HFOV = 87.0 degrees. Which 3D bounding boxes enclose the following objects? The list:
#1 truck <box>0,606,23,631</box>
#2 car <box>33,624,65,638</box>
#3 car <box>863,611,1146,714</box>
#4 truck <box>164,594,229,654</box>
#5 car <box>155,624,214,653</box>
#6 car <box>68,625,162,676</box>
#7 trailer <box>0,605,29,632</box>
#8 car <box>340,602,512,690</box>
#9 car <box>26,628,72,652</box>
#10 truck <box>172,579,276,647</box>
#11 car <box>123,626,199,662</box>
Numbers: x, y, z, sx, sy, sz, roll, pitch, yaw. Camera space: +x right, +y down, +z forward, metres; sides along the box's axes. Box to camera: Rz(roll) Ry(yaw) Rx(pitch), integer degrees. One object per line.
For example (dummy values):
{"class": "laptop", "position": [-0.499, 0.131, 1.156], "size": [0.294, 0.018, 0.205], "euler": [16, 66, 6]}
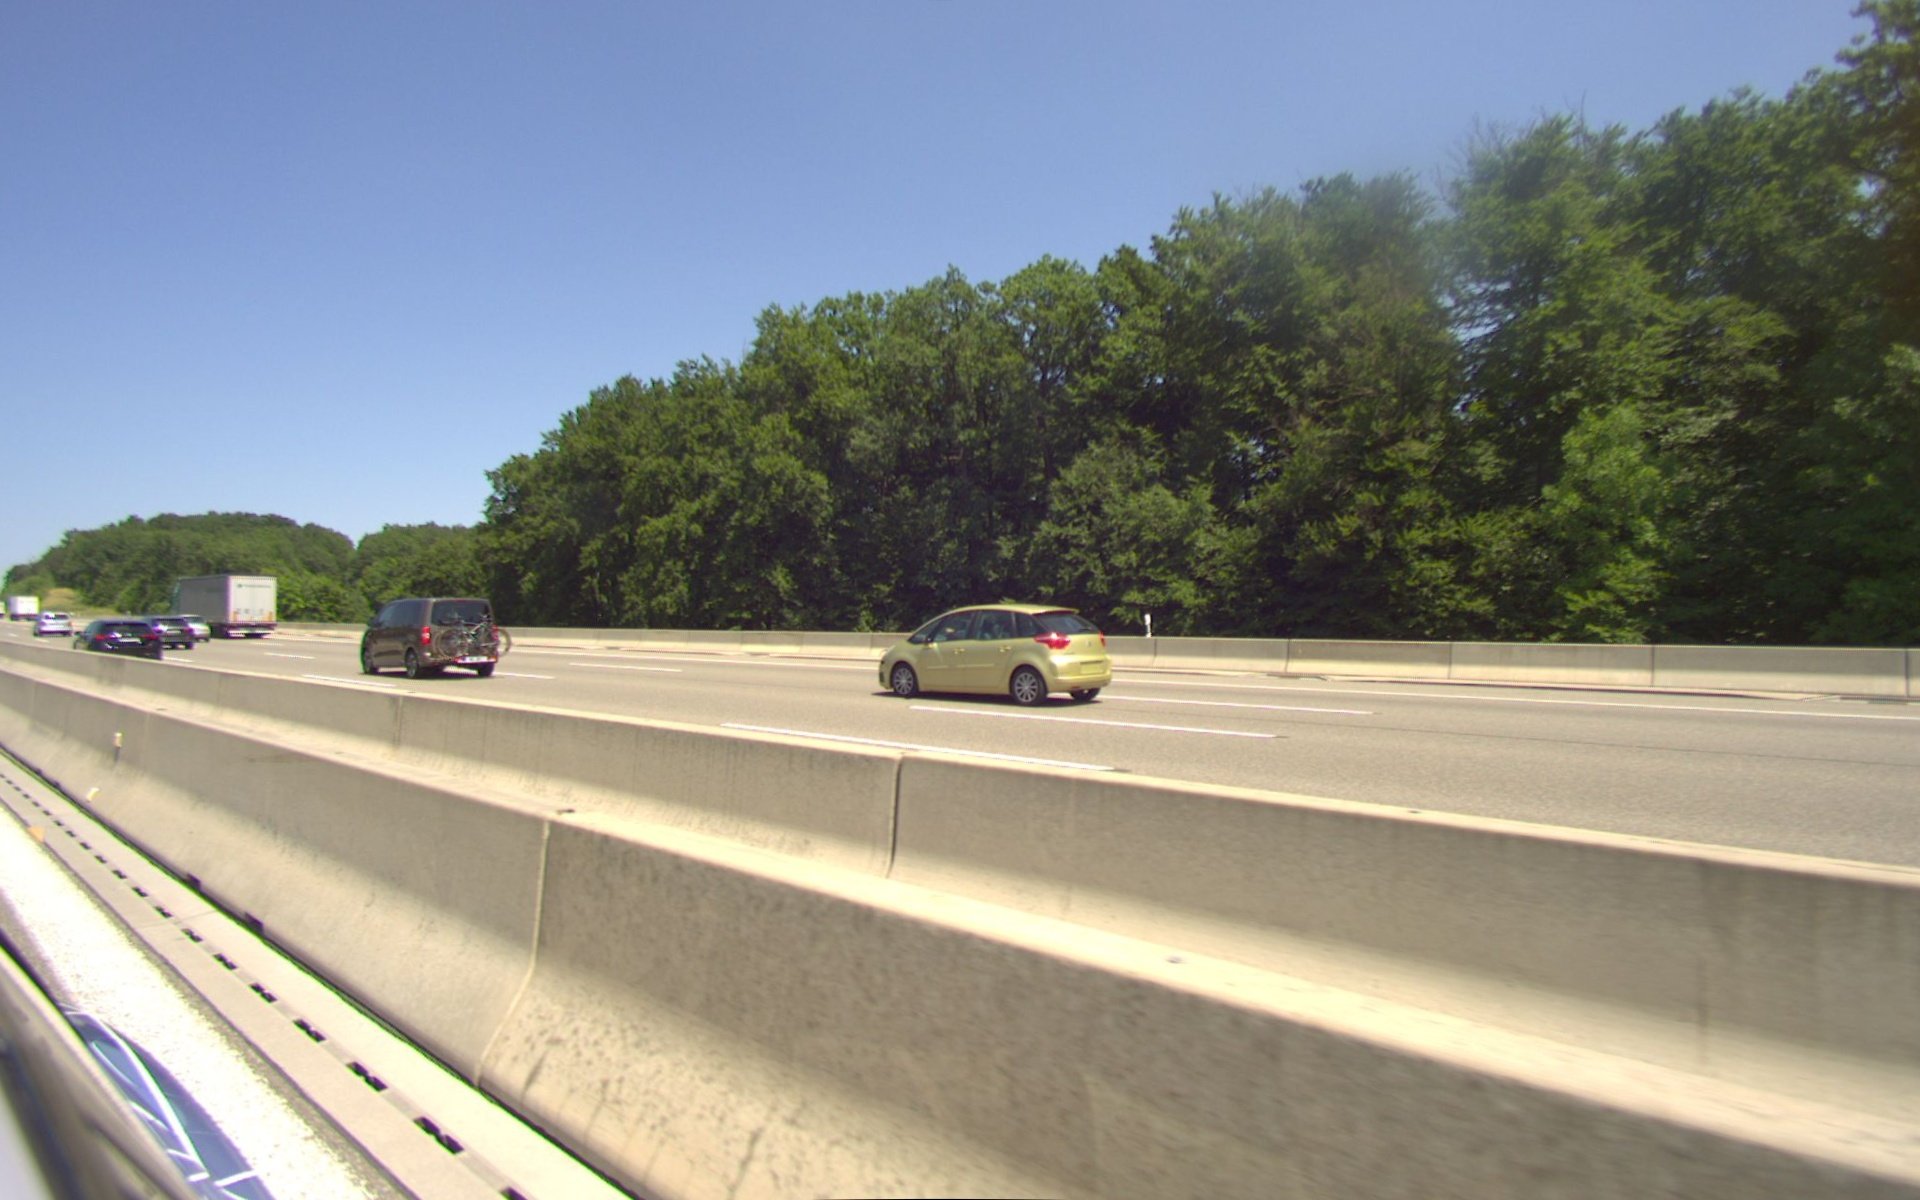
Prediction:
{"class": "truck", "position": [-159.757, 3.178, 170.033], "size": [7.876, 4.131, 2.685], "euler": [-1, -2, 43]}
{"class": "car", "position": [-88.418, 2.986, 98.184], "size": [4.728, 1.311, 1.812], "euler": [-1, -1, 42]}
{"class": "car", "position": [0.642, 0.981, 17.503], "size": [4.811, 1.546, 1.853], "euler": [-1, -1, 41]}
{"class": "truck", "position": [-53.423, 1.652, 70.786], "size": [5.508, 4.056, 2.630], "euler": [-1, -1, 41]}
{"class": "car", "position": [-43.703, 2.111, 56.997], "size": [4.134, 1.546, 1.853], "euler": [-1, -1, 41]}
{"class": "car", "position": [-26.651, 1.534, 31.864], "size": [4.503, 1.480, 1.584], "euler": [-1, -1, 41]}
{"class": "trailer", "position": [-154.524, 3.033, 165.223], "size": [14.360, 4.257, 2.614], "euler": [-1, -2, 43]}
{"class": "car", "position": [-13.330, 1.056, 25.076], "size": [5.772, 1.955, 1.853], "euler": [-1, -1, 41]}
{"class": "car", "position": [-62.285, 2.717, 69.186], "size": [4.775, 1.573, 1.812], "euler": [-1, -2, 42]}
{"class": "truck", "position": [-48.473, 0.905, 66.415], "size": [14.294, 4.056, 2.661], "euler": [-1, -1, 42]}
{"class": "car", "position": [-35.969, 1.933, 45.514], "size": [5.110, 1.487, 1.853], "euler": [-1, -1, 42]}
